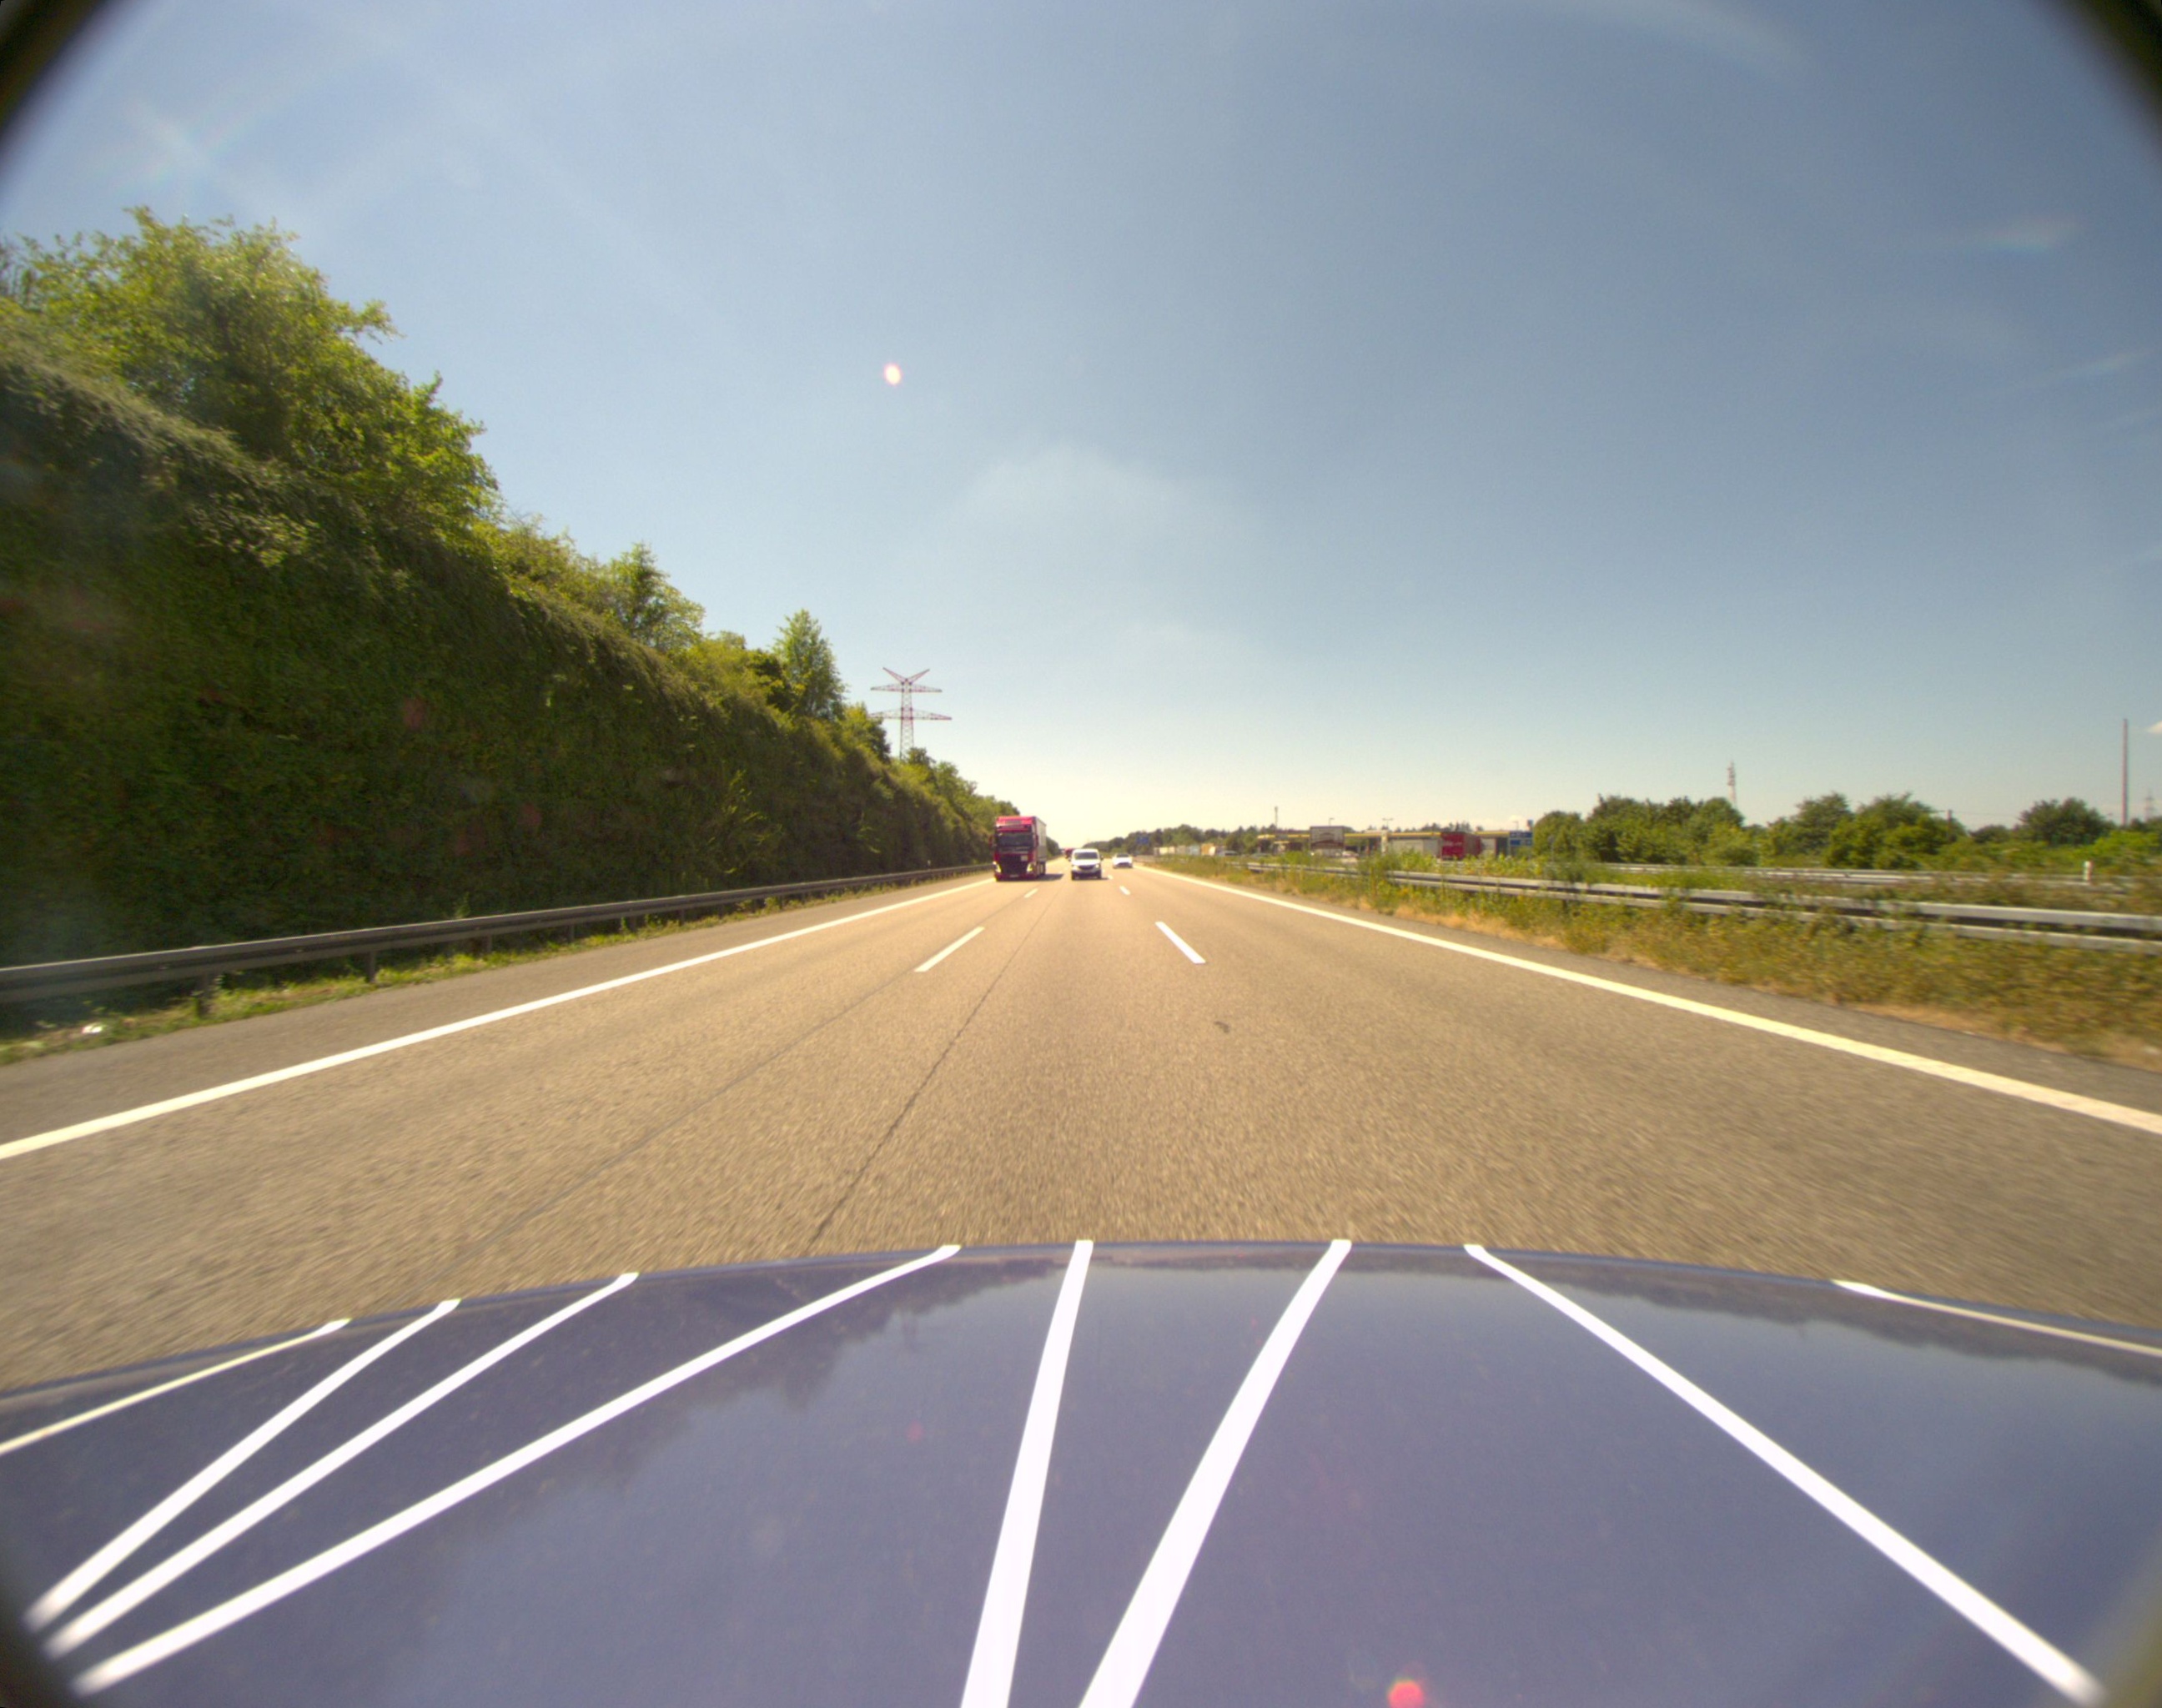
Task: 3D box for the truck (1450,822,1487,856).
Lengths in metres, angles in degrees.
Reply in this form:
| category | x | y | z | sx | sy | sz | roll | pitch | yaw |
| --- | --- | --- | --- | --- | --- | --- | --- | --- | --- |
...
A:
| category | x | y | z | sx | sy | sz | roll | pitch | yaw |
| --- | --- | --- | --- | --- | --- | --- | --- | --- | --- |
| truck | 49.497 | -1.932 | 96.988 | 3.119 | 4.026 | 6.657 | -2 | 1 | 35 |

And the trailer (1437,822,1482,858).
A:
| category | x | y | z | sx | sy | sz | roll | pitch | yaw |
| --- | --- | --- | --- | --- | --- | --- | --- | --- | --- |
| trailer | 45.474 | -1.738 | 91.128 | 3.123 | 4.032 | 11.334 | -2 | 1 | 34 |

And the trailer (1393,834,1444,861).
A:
| category | x | y | z | sx | sy | sz | roll | pitch | yaw |
| --- | --- | --- | --- | --- | --- | --- | --- | --- | --- |
| trailer | 58.459 | -1.087 | 132.168 | 3.309 | 4.332 | 12.921 | -3 | 0 | 2 |

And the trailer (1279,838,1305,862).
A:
| category | x | y | z | sx | sy | sz | roll | pitch | yaw |
| --- | --- | --- | --- | --- | --- | --- | --- | --- | --- |
| trailer | 45.055 | -0.831 | 162.345 | 3.040 | 4.822 | 9.134 | -3 | 0 | 2 |

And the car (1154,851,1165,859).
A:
| category | x | y | z | sx | sy | sz | roll | pitch | yaw |
| --- | --- | --- | --- | --- | --- | --- | --- | --- | --- |
| car | 18.417 | 0.245 | 177.653 | 1.958 | 1.799 | 5.046 | -3 | 0 | -1 |

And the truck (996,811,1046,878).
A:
| category | x | y | z | sx | sy | sz | roll | pitch | yaw |
| --- | --- | --- | --- | --- | --- | --- | --- | --- | --- |
| truck | -3.708 | -0.566 | 48.340 | 2.505 | 3.897 | 7.096 | -2 | 0 | 0 |

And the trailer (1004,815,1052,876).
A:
| category | x | y | z | sx | sy | sz | roll | pitch | yaw |
| --- | --- | --- | --- | --- | --- | --- | --- | --- | --- |
| trailer | -3.713 | -0.599 | 56.531 | 2.497 | 3.887 | 14.244 | -2 | 0 | 0 |

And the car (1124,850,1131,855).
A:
| category | x | y | z | sx | sy | sz | roll | pitch | yaw |
| --- | --- | --- | --- | --- | --- | --- | --- | --- | --- |
| car | 14.281 | -0.533 | 232.841 | 1.722 | 1.520 | 4.666 | 1 | 0 | 0 |

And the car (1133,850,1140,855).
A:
| category | x | y | z | sx | sy | sz | roll | pitch | yaw |
| --- | --- | --- | --- | --- | --- | --- | --- | --- | --- |
| car | 18.558 | -0.505 | 252.800 | 1.873 | 1.390 | 4.545 | -3 | 0 | 0 |

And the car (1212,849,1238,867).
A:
| category | x | y | z | sx | sy | sz | roll | pitch | yaw |
| --- | --- | --- | --- | --- | --- | --- | --- | --- | --- |
| car | 13.033 | 0.313 | 68.754 | 1.604 | 1.548 | 3.854 | 0 | 0 | 0 |

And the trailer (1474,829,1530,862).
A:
| category | x | y | z | sx | sy | sz | roll | pitch | yaw |
| --- | --- | --- | --- | --- | --- | --- | --- | --- | --- |
| trailer | 60.958 | -1.325 | 109.880 | 11.083 | 4.241 | 3.158 | -3 | 1 | -40 |

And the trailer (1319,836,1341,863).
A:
| category | x | y | z | sx | sy | sz | roll | pitch | yaw |
| --- | --- | --- | --- | --- | --- | --- | --- | --- | --- |
| trailer | 48.068 | -0.912 | 146.817 | 3.306 | 4.846 | 9.692 | -3 | 0 | 15 |

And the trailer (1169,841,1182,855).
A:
| category | x | y | z | sx | sy | sz | roll | pitch | yaw |
| --- | --- | --- | --- | --- | --- | --- | --- | --- | --- |
| trailer | 30.691 | -1.939 | 247.662 | 2.605 | 4.194 | 10.513 | -3 | 0 | 0 |

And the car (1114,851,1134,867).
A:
| category | x | y | z | sx | sy | sz | roll | pitch | yaw |
| --- | --- | --- | --- | --- | --- | --- | --- | --- | --- |
| car | 4.166 | 0.485 | 74.200 | 1.775 | 1.410 | 3.401 | -3 | 0 | 1 |

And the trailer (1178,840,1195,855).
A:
| category | x | y | z | sx | sy | sz | roll | pitch | yaw |
| --- | --- | --- | --- | --- | --- | --- | --- | --- | --- |
| trailer | 31.141 | -1.922 | 225.208 | 3.121 | 4.134 | 11.013 | -3 | 0 | -1 |

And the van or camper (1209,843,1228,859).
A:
| category | x | y | z | sx | sy | sz | roll | pitch | yaw |
| --- | --- | --- | --- | --- | --- | --- | --- | --- | --- |
| van or camper | 22.559 | -0.488 | 124.835 | 2.064 | 2.510 | 6.389 | -3 | 0 | 1 |

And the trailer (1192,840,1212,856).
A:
| category | x | y | z | sx | sy | sz | roll | pitch | yaw |
| --- | --- | --- | --- | --- | --- | --- | --- | --- | --- |
| trailer | 31.926 | -1.532 | 200.861 | 2.840 | 4.124 | 12.082 | -3 | 0 | -1 |

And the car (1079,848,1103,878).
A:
| category | x | y | z | sx | sy | sz | roll | pitch | yaw |
| --- | --- | --- | --- | --- | --- | --- | --- | --- | --- |
| car | 0.603 | 0.526 | 48.857 | 1.413 | 1.795 | 3.200 | -3 | 0 | 0 |

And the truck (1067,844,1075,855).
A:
| category | x | y | z | sx | sy | sz | roll | pitch | yaw |
| --- | --- | --- | --- | --- | --- | --- | --- | --- | --- |
| truck | -3.445 | -1.447 | 260.979 | 2.540 | 3.656 | 5.219 | -3 | 0 | 1 |

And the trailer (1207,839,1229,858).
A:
| category | x | y | z | sx | sy | sz | roll | pitch | yaw |
| --- | --- | --- | --- | --- | --- | --- | --- | --- | --- |
| trailer | 32.369 | -1.351 | 179.483 | 2.840 | 4.195 | 11.081 | -3 | 0 | -1 |

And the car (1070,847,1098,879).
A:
| category | x | y | z | sx | sy | sz | roll | pitch | yaw |
| --- | --- | --- | --- | --- | --- | --- | --- | --- | --- |
| car | 0.154 | 0.507 | 45.149 | 1.501 | 1.799 | 3.393 | -3 | 0 | 0 |
